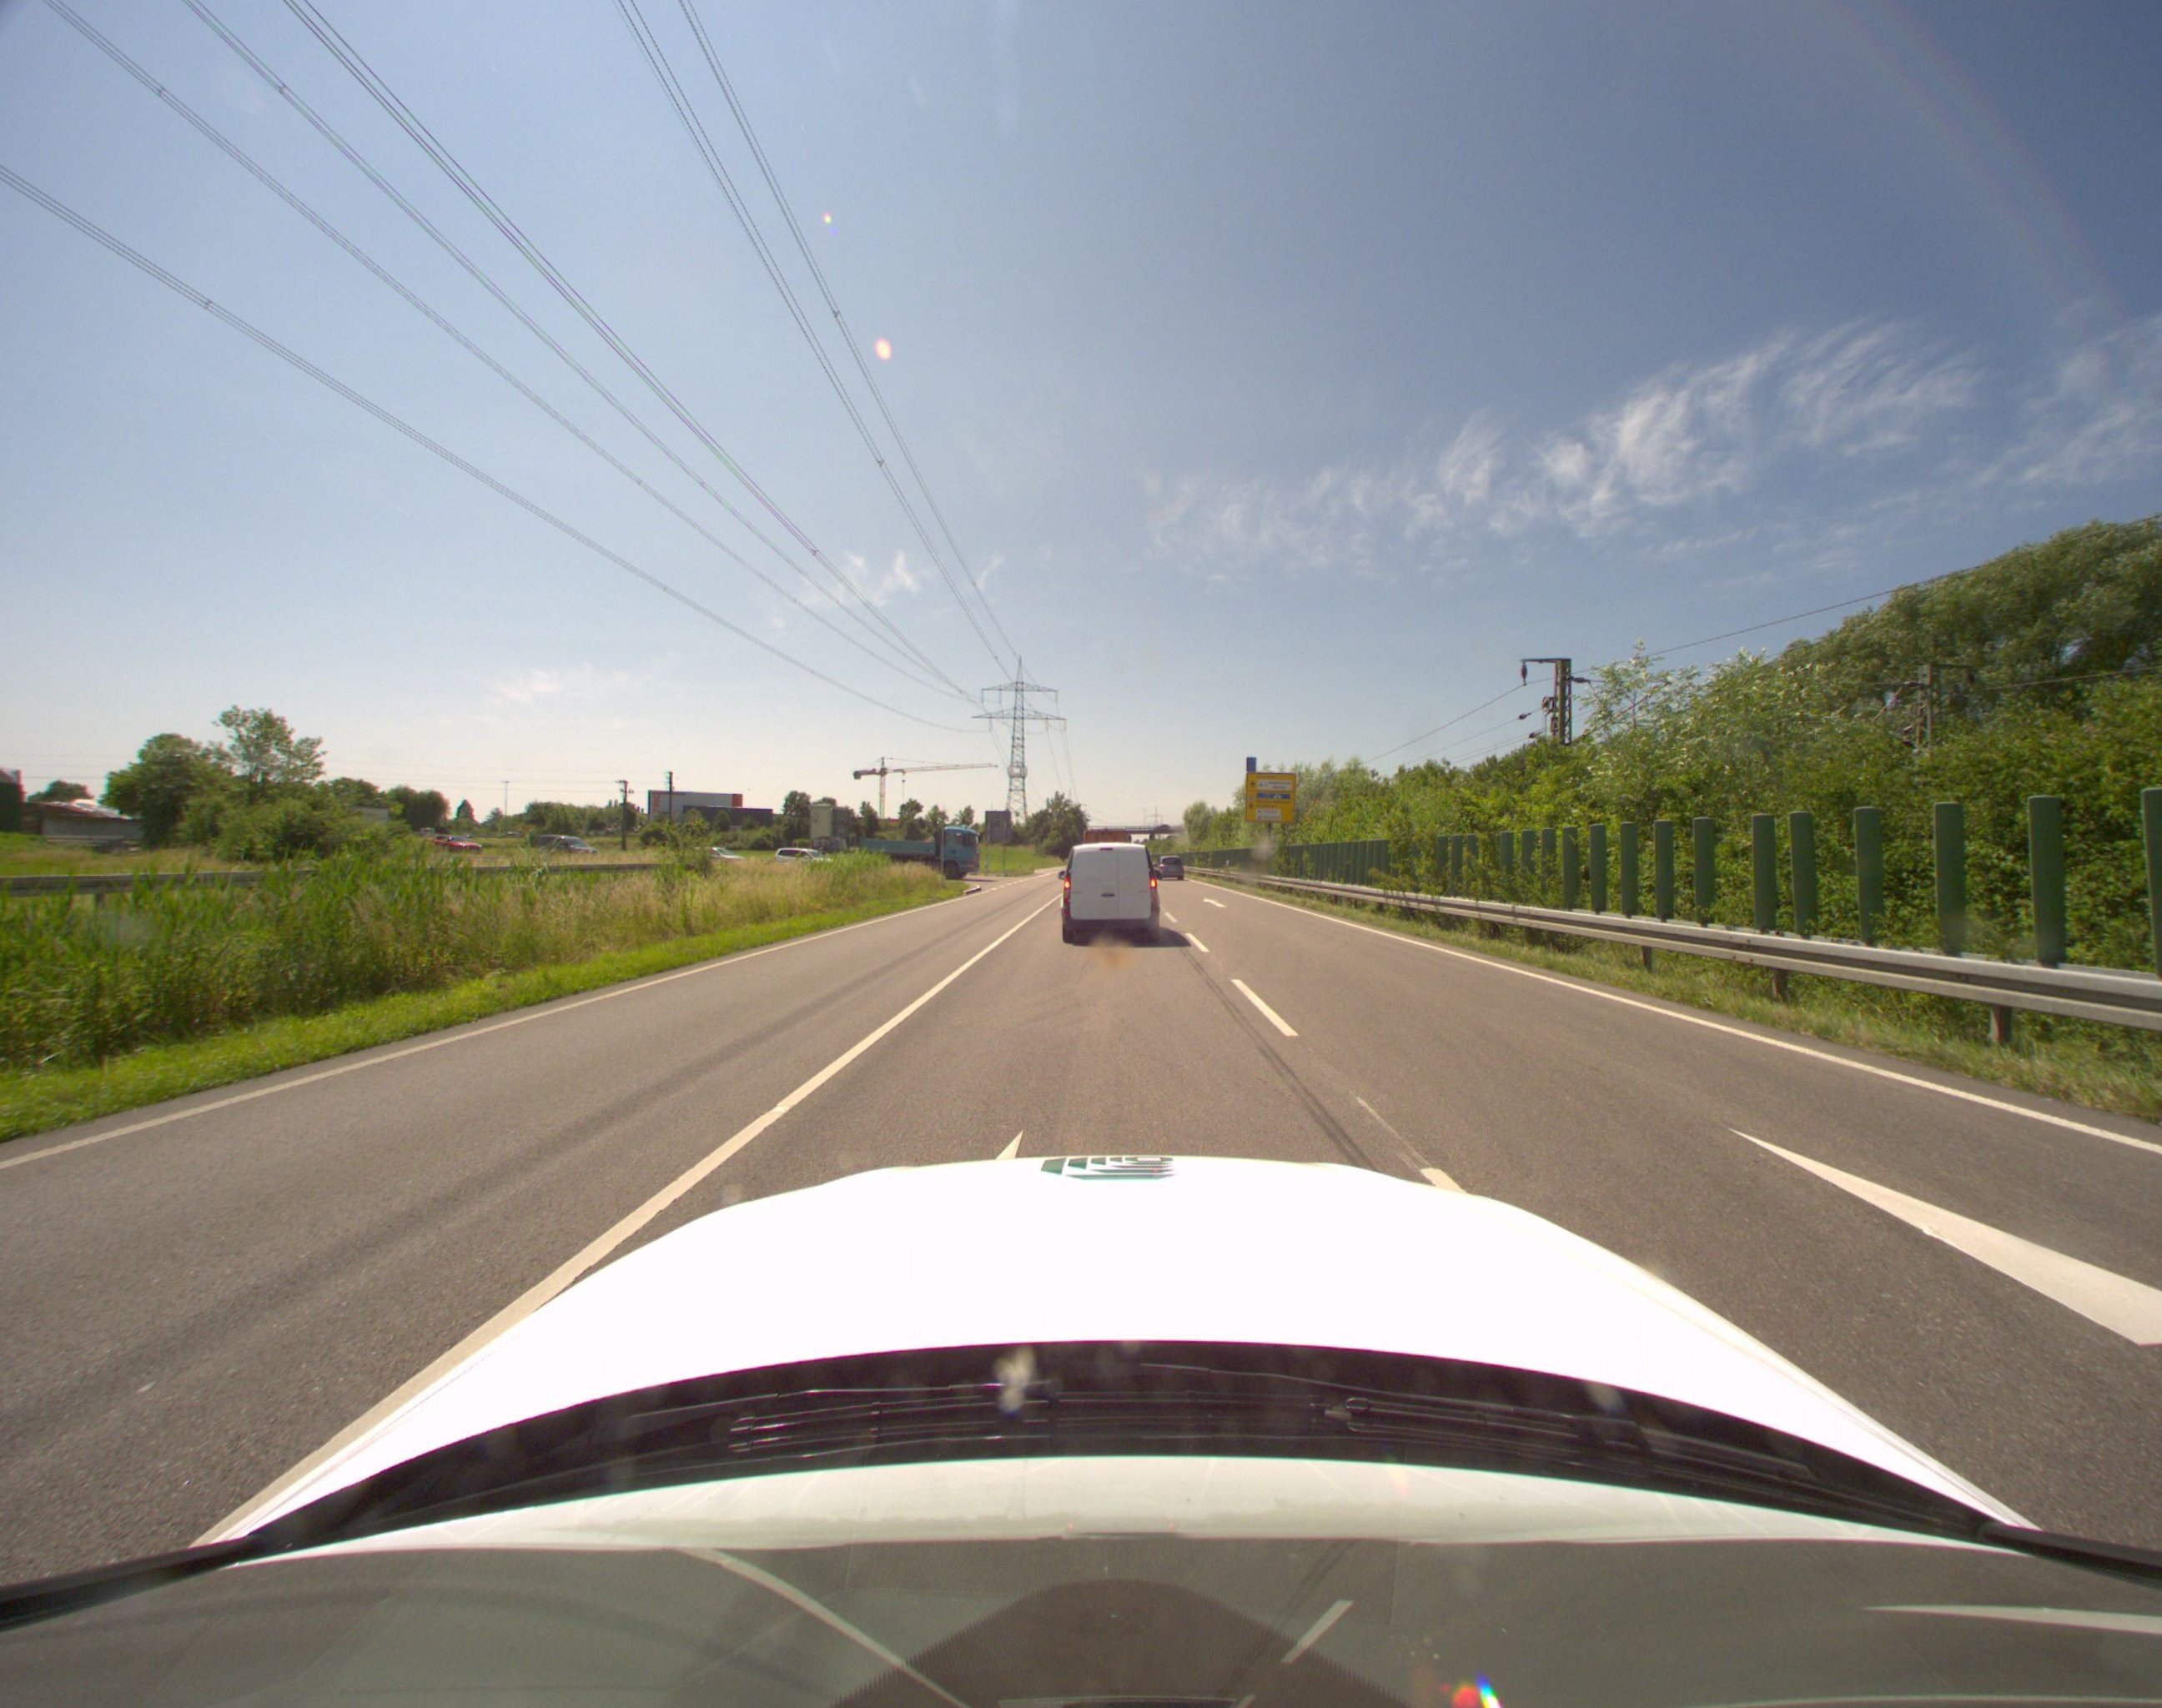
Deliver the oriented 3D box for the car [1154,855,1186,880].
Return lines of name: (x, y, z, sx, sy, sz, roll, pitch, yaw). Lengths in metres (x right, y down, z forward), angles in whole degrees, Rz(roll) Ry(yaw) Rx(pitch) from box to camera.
car: (5.844, 0.853, 54.034, 1.841, 1.574, 4.002, -1, 0, 2)

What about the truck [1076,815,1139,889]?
truck: (1.273, -0.129, 41.021, 2.810, 3.288, 9.703, 0, 0, 1)

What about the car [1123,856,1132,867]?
car: (8.889, 1.424, 155.984, 1.553, 2.014, 3.591, 1, 0, 2)

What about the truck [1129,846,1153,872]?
truck: (6.627, 0.546, 90.587, 2.365, 2.689, 8.013, 1, 0, 2)

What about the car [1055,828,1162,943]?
car: (0.547, 0.553, 16.031, 1.820, 1.971, 4.002, -1, 0, 2)

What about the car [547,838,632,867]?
car: (-34.380, -0.140, 57.020, 4.906, 1.867, 2.094, 1, 1, 10)

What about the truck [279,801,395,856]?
truck: (-68.080, -2.233, 74.407, 13.072, 4.646, 3.712, 0, 0, 29)

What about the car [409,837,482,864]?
car: (-46.921, -0.254, 60.148, 4.435, 1.849, 1.924, 1, 0, 15)

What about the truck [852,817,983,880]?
truck: (-10.606, -0.347, 53.351, 7.868, 3.734, 2.501, 2, 0, 4)

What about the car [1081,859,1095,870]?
car: (0.939, 1.434, 110.886, 1.718, 1.441, 4.251, 2, 0, 2)

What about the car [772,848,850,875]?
car: (-17.862, 0.476, 53.914, 4.506, 1.612, 1.976, 1, 0, 16)
